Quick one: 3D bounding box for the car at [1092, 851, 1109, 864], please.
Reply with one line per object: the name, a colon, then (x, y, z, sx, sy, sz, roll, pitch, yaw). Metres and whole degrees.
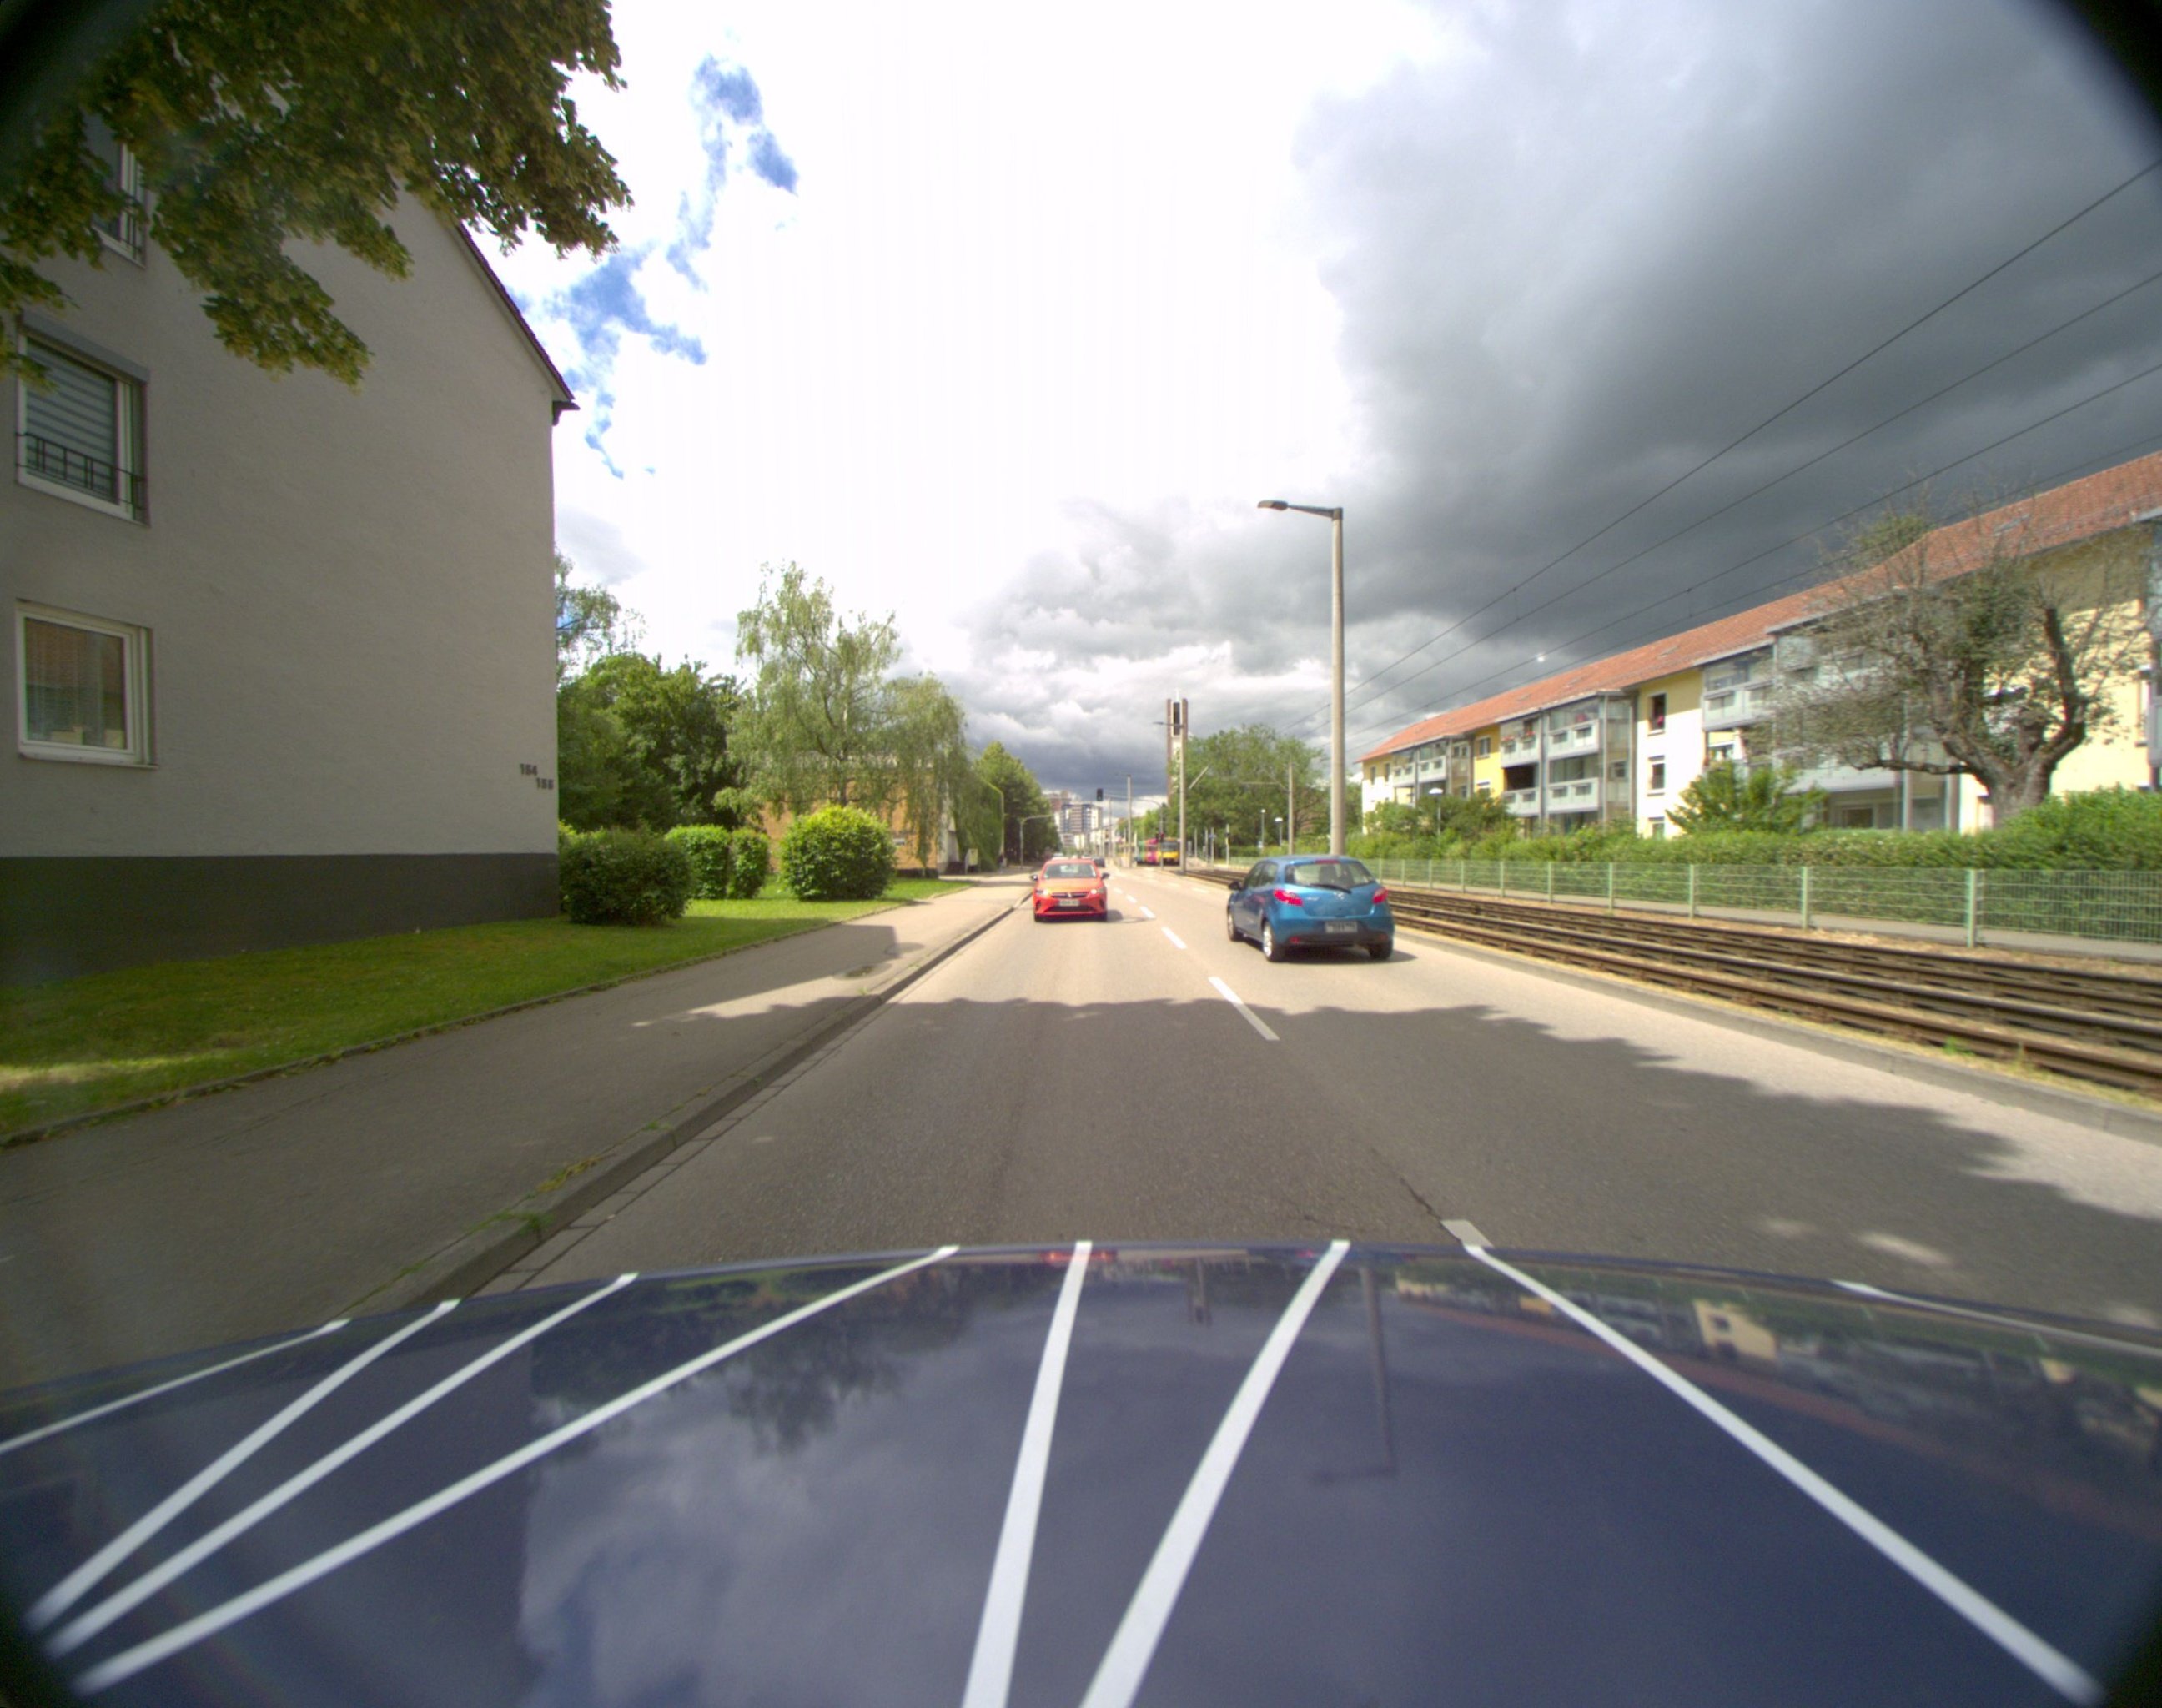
car: (2.200, 0.403, 86.586, 1.633, 1.424, 4.166, -2, 0, -3)

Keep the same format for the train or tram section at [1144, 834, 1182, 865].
train or tram section: (11.016, -0.644, 104.195, 2.988, 3.840, 18.534, -2, 0, -1)

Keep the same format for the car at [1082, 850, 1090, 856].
car: (1.087, -0.312, 178.777, 1.722, 1.433, 4.008, -1, 1, -1)

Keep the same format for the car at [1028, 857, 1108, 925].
car: (-0.253, 0.838, 19.088, 1.756, 1.433, 4.226, -1, 1, 1)

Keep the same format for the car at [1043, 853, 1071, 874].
car: (-1.714, 0.667, 55.297, 1.756, 1.433, 4.226, -1, 1, 1)

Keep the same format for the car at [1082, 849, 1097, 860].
car: (1.203, 0.052, 107.855, 1.765, 1.543, 3.999, -1, 0, -3)

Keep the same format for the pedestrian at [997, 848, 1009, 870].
pedestrian: (-6.314, 0.400, 61.598, 0.811, 1.761, 0.817, 2, 1, 6)

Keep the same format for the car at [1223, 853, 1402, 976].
car: (3.283, 0.770, 11.456, 1.627, 1.516, 3.581, -1, 0, 1)

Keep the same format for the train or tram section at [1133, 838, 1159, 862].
train or tram section: (10.801, -0.691, 127.288, 2.988, 3.840, 11.784, -2, 0, -1)
